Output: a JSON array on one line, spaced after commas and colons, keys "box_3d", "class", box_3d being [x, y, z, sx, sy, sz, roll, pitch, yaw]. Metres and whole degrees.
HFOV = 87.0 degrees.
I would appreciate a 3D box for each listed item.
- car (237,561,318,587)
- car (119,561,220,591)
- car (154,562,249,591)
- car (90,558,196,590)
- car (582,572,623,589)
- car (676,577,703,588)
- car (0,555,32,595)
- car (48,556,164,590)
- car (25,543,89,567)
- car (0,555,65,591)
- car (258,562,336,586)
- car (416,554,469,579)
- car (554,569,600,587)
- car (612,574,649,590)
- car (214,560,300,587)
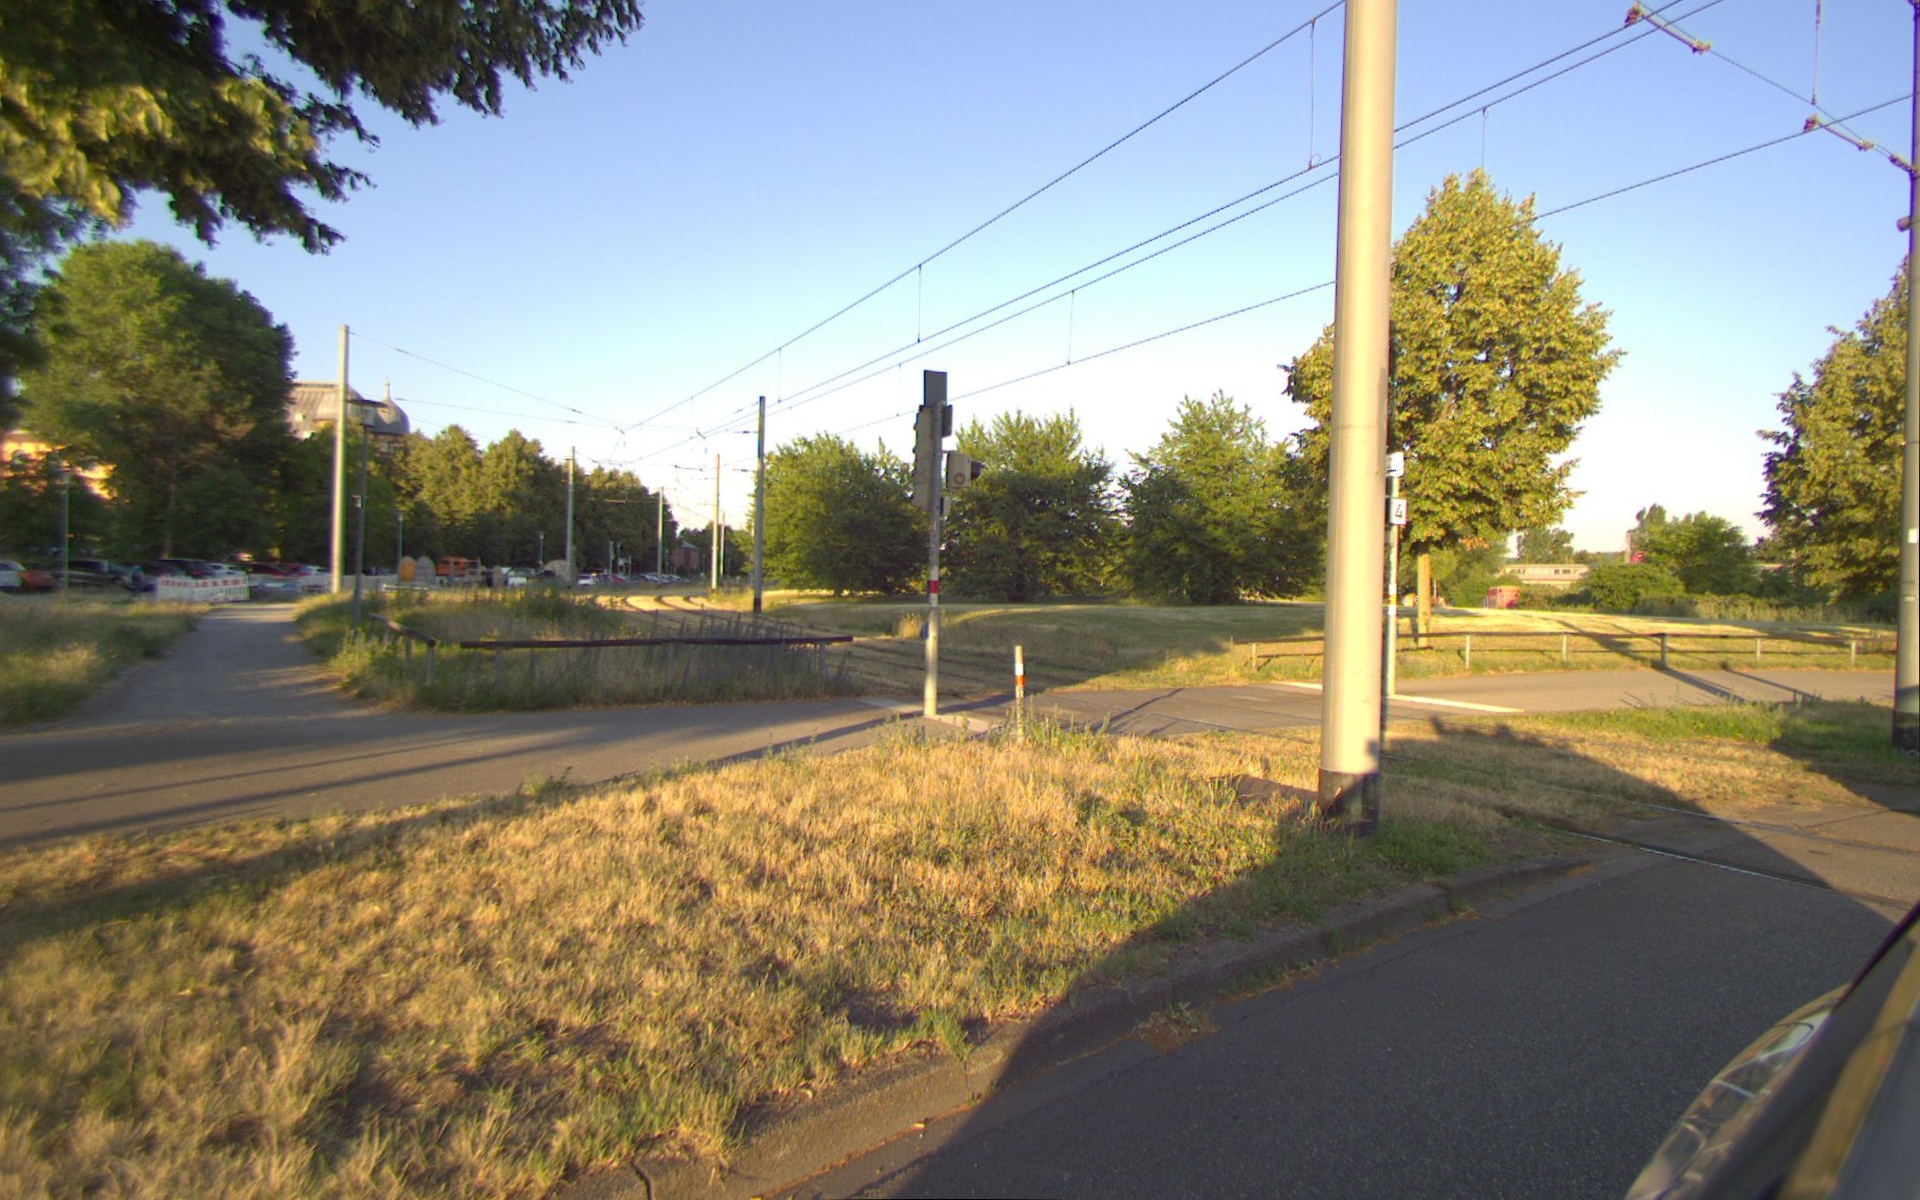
[{"box_3d": [-43.891, -1.674, 65.161, 3.918, 1.573, 1.906, 1, 1, -8], "class": "car"}, {"box_3d": [-43.089, -1.312, 55.240, 3.918, 1.573, 1.906, 1, 1, -8], "class": "car"}, {"box_3d": [-43.562, -1.322, 58.202, 3.918, 1.573, 1.906, 1, 1, -8], "class": "car"}, {"box_3d": [-42.852, -1.369, 53.178, 3.918, 1.573, 1.906, 1, 1, -8], "class": "car"}, {"box_3d": [-34.922, -1.916, 99.039, 3.536, 1.501, 1.714, 2, -1, -11], "class": "car"}, {"box_3d": [-38.666, -2.500, 144.711, 3.536, 1.501, 1.714, 2, -1, -11], "class": "car"}, {"box_3d": [-42.291, -1.110, 42.935, 3.918, 1.682, 1.956, 1, 1, -8], "class": "car"}, {"box_3d": [-42.415, -1.324, 50.328, 4.015, 1.573, 1.906, 1, 1, -8], "class": "car"}, {"box_3d": [-75.041, -3.710, 84.171, 1.960, 1.767, 4.004, 2, 0, -6], "class": "car"}, {"box_3d": [-43.008, -1.235, 45.392, 3.918, 1.573, 1.906, 1, 1, -8], "class": "car"}, {"box_3d": [-44.274, -1.729, 67.602, 3.918, 1.573, 1.906, 1, 1, -8], "class": "car"}, {"box_3d": [-47.103, -3.055, 92.229, 3.918, 2.121, 1.906, 1, 1, -8], "class": "car"}, {"box_3d": [-33.845, -1.929, 89.409, 3.536, 1.501, 1.714, 2, -1, -11], "class": "car"}, {"box_3d": [-34.718, -1.868, 106.622, 3.536, 1.501, 1.714, 2, -1, -11], "class": "car"}, {"box_3d": [-43.499, -1.609, 62.696, 3.918, 1.573, 1.906, 1, 1, -8], "class": "car"}]
